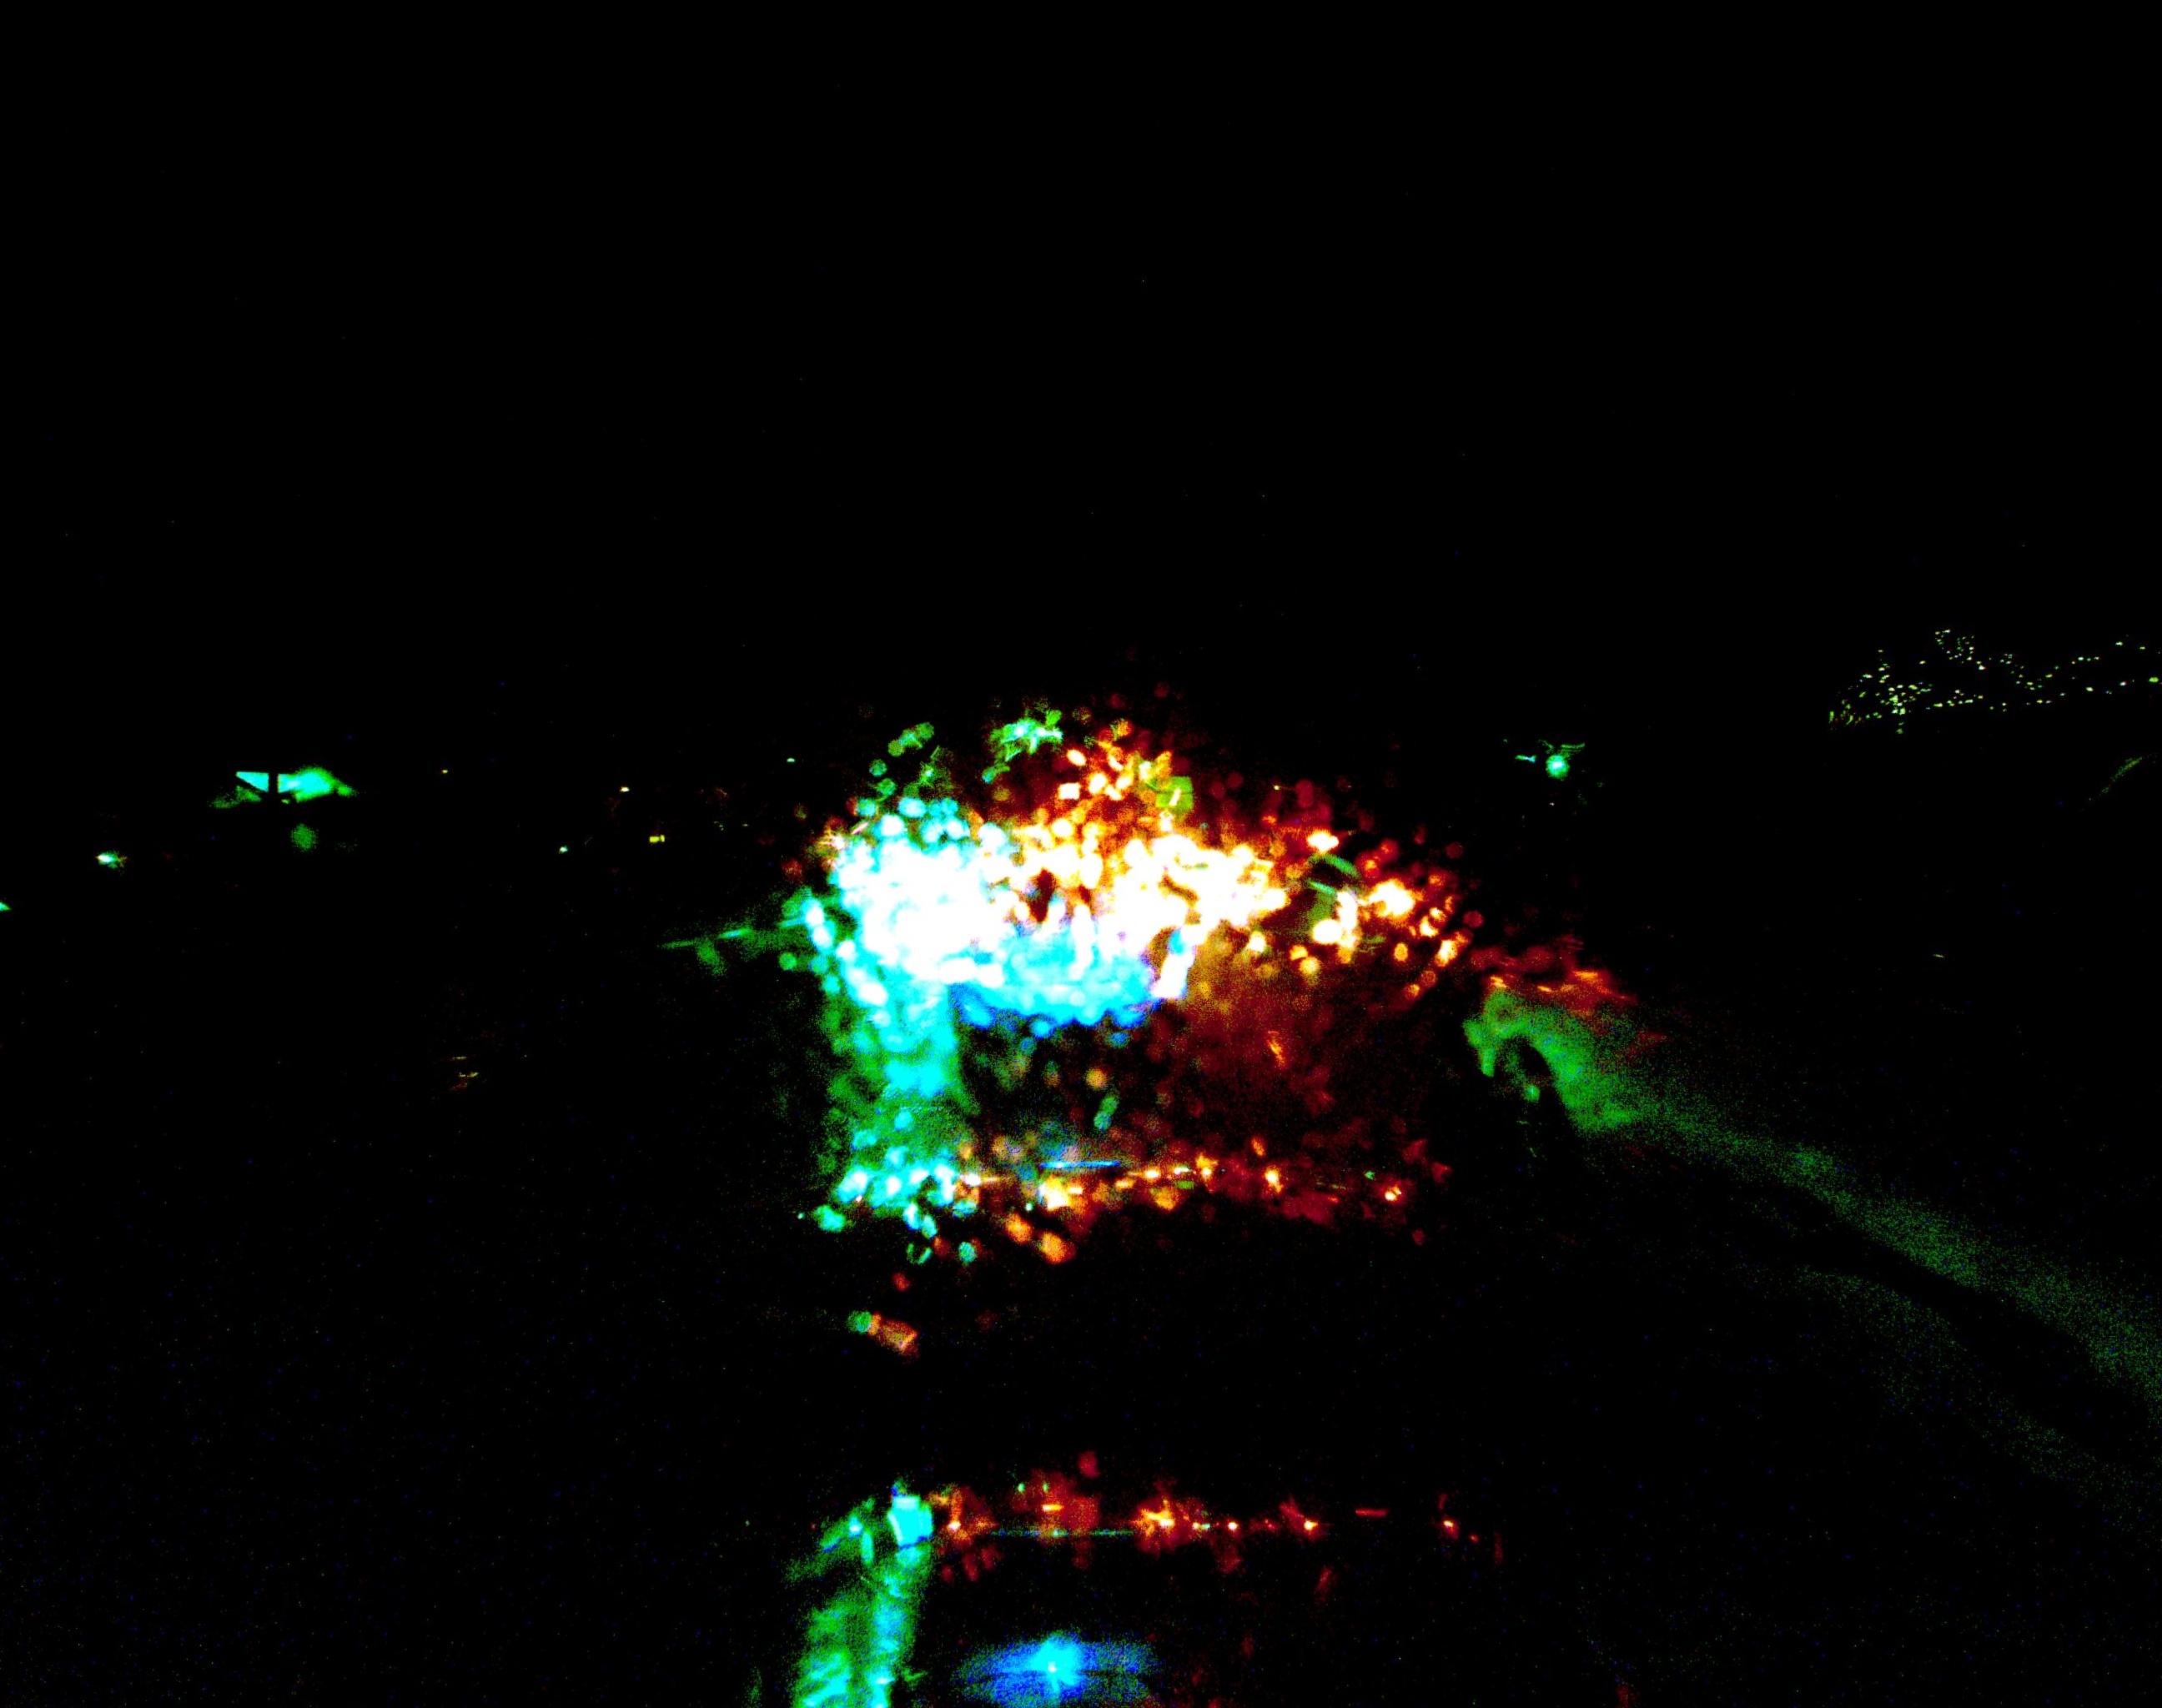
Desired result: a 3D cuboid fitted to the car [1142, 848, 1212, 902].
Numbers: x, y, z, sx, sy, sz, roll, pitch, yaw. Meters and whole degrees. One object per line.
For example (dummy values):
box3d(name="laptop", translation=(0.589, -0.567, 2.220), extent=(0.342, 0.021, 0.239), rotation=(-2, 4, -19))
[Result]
box3d(name="car", translation=(3.136, 0.656, 27.319), extent=(1.986, 1.670, 4.001), rotation=(0, 0, 2))

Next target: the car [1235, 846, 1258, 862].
box3d(name="car", translation=(19.119, 0.000, 94.266), extent=(1.857, 1.646, 3.965), rotation=(-3, -1, 2))

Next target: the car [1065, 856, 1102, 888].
box3d(name="car", translation=(0.122, 1.053, 48.366), extent=(1.989, 1.824, 3.995), rotation=(0, 0, -3))

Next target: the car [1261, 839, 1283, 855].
box3d(name="car", translation=(25.446, -0.942, 108.604), extent=(1.986, 2.014, 4.001), rotation=(0, -1, 2))

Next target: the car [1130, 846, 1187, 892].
box3d(name="car", translation=(3.148, 0.614, 33.697), extent=(1.987, 1.773, 4.000), rotation=(0, 0, 0))

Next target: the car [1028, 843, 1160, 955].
box3d(name="car", translation=(0.256, 0.698, 14.322), extent=(1.986, 1.684, 4.001), rotation=(0, 0, 2))

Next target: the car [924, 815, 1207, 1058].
box3d(name="car", translation=(-0.117, 0.599, 8.035), extent=(2.008, 1.717, 4.450), rotation=(0, 0, 0))

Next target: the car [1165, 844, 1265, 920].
box3d(name="car", translation=(3.288, 0.654, 20.686), extent=(1.986, 1.718, 4.001), rotation=(0, 0, 2))

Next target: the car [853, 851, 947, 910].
box3d(name="car", translation=(-5.610, 0.765, 25.845), extent=(1.881, 1.568, 4.486), rotation=(-1, 1, 1))

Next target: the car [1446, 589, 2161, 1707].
box3d(name="car", translation=(2.734, 0.493, 1.984), extent=(1.845, 1.865, 4.342), rotation=(0, 0, 2))

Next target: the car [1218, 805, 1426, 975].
box3d(name="car", translation=(3.258, 0.452, 11.898), extent=(1.961, 2.047, 4.001), rotation=(0, -1, 2))

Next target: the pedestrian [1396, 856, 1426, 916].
box3d(name="pedestrian", translation=(9.558, 0.913, 23.591), extent=(0.621, 1.701, 0.541), rotation=(0, -1, -1))

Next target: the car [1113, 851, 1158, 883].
box3d(name="car", translation=(2.695, 0.634, 40.864), extent=(1.853, 1.544, 3.927), rotation=(0, 0, -2))
